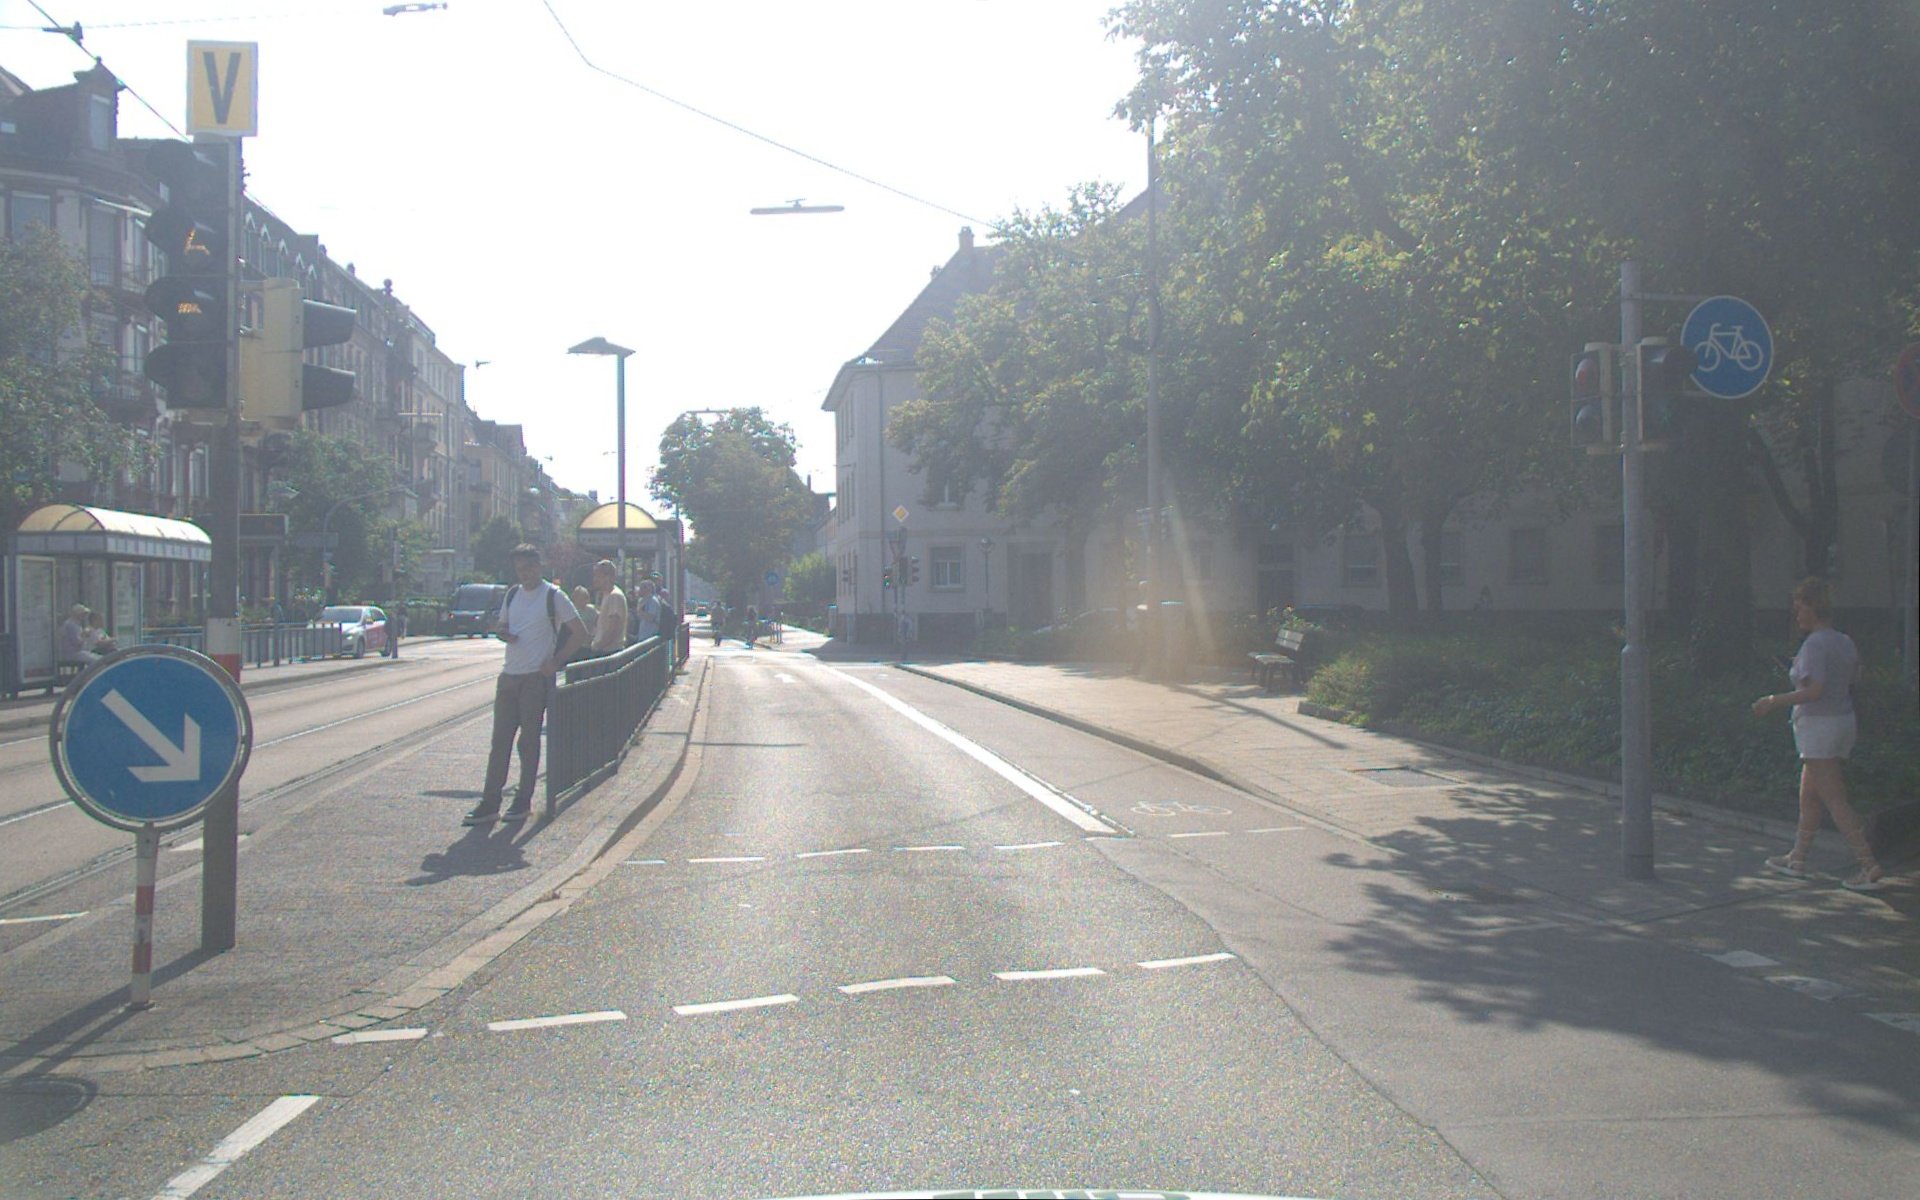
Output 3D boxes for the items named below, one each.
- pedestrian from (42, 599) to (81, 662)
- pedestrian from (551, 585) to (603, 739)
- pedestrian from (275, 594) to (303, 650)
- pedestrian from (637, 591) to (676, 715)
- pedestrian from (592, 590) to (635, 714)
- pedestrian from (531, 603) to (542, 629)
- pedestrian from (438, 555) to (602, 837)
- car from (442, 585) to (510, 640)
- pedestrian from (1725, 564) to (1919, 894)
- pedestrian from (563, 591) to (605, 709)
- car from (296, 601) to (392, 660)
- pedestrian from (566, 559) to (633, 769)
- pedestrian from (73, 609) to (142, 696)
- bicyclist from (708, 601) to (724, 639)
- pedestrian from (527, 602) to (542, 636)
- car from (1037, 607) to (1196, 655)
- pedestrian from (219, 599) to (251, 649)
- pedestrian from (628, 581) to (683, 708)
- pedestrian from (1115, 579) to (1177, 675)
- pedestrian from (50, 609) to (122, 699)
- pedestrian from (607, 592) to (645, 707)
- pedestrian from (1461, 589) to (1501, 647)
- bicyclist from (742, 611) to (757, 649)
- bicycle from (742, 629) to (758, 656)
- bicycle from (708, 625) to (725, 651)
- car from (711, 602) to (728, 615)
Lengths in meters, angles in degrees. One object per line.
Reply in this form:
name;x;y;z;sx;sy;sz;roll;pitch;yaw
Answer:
pedestrian;-25.456;0.850;46.874;0.735;1.761;0.770;-1;0;-6
pedestrian;-4.555;0.728;19.700;0.495;1.790;0.533;2;2;-8
pedestrian;-21.634;0.704;53.321;0.738;1.761;0.768;0;-1;-17
pedestrian;-4.500;0.775;24.560;0.495;1.790;0.533;2;2;-8
pedestrian;-5.125;0.764;24.476;0.533;1.790;0.533;2;2;-8
pedestrian;-29.108;1.085;113.647;0.738;1.761;0.768;0;-1;-17
pedestrian;-2.890;0.596;10.893;0.686;1.755;0.747;3;2;25
car;-24.669;0.623;84.502;2.301;2.708;5.100;-1;0;-4
pedestrian;4.908;0.690;9.339;0.738;1.761;0.768;0;-1;-17
pedestrian;-5.858;0.769;25.804;0.522;1.790;0.544;2;2;-7
car;-18.639;0.903;50.178;1.766;1.682;3.639;-1;0;-4
pedestrian;-3.295;0.574;15.137;0.495;1.866;0.533;2;2;-8
pedestrian;-13.955;0.851;27.091;0.813;1.382;0.774;0;0;-12
bicyclist;-9.918;0.815;67.316;0.617;1.534;0.677;-1;0;-10
pedestrian;-22.717;1.018;88.235;0.738;1.761;0.768;0;-1;-17
car;4.621;0.917;48.829;4.243;1.343;1.996;-1;0;31
pedestrian;-25.965;0.860;59.278;0.736;1.761;0.769;-1;-1;32
pedestrian;-4.407;0.642;23.952;0.695;1.790;0.533;2;2;-8
pedestrian;3.479;0.500;30.909;0.875;1.771;0.774;-1;-1;33
pedestrian;-13.802;0.844;26.128;0.813;1.382;0.774;0;0;-12
pedestrian;-5.340;0.783;26.461;0.495;1.790;0.533;2;2;-8
pedestrian;15.982;0.551;50.773;0.768;1.771;0.882;0;-1;-37
bicyclist;-8.148;1.165;64.045;0.548;1.441;0.869;-1;0;-9
bicycle;-8.134;1.636;64.030;0.548;0.995;1.852;-1;0;-9
bicycle;-9.915;1.537;67.313;0.617;0.995;1.766;-1;0;-9
car;-34.931;1.278;240.163;1.953;1.814;3.999;0;-1;-1
